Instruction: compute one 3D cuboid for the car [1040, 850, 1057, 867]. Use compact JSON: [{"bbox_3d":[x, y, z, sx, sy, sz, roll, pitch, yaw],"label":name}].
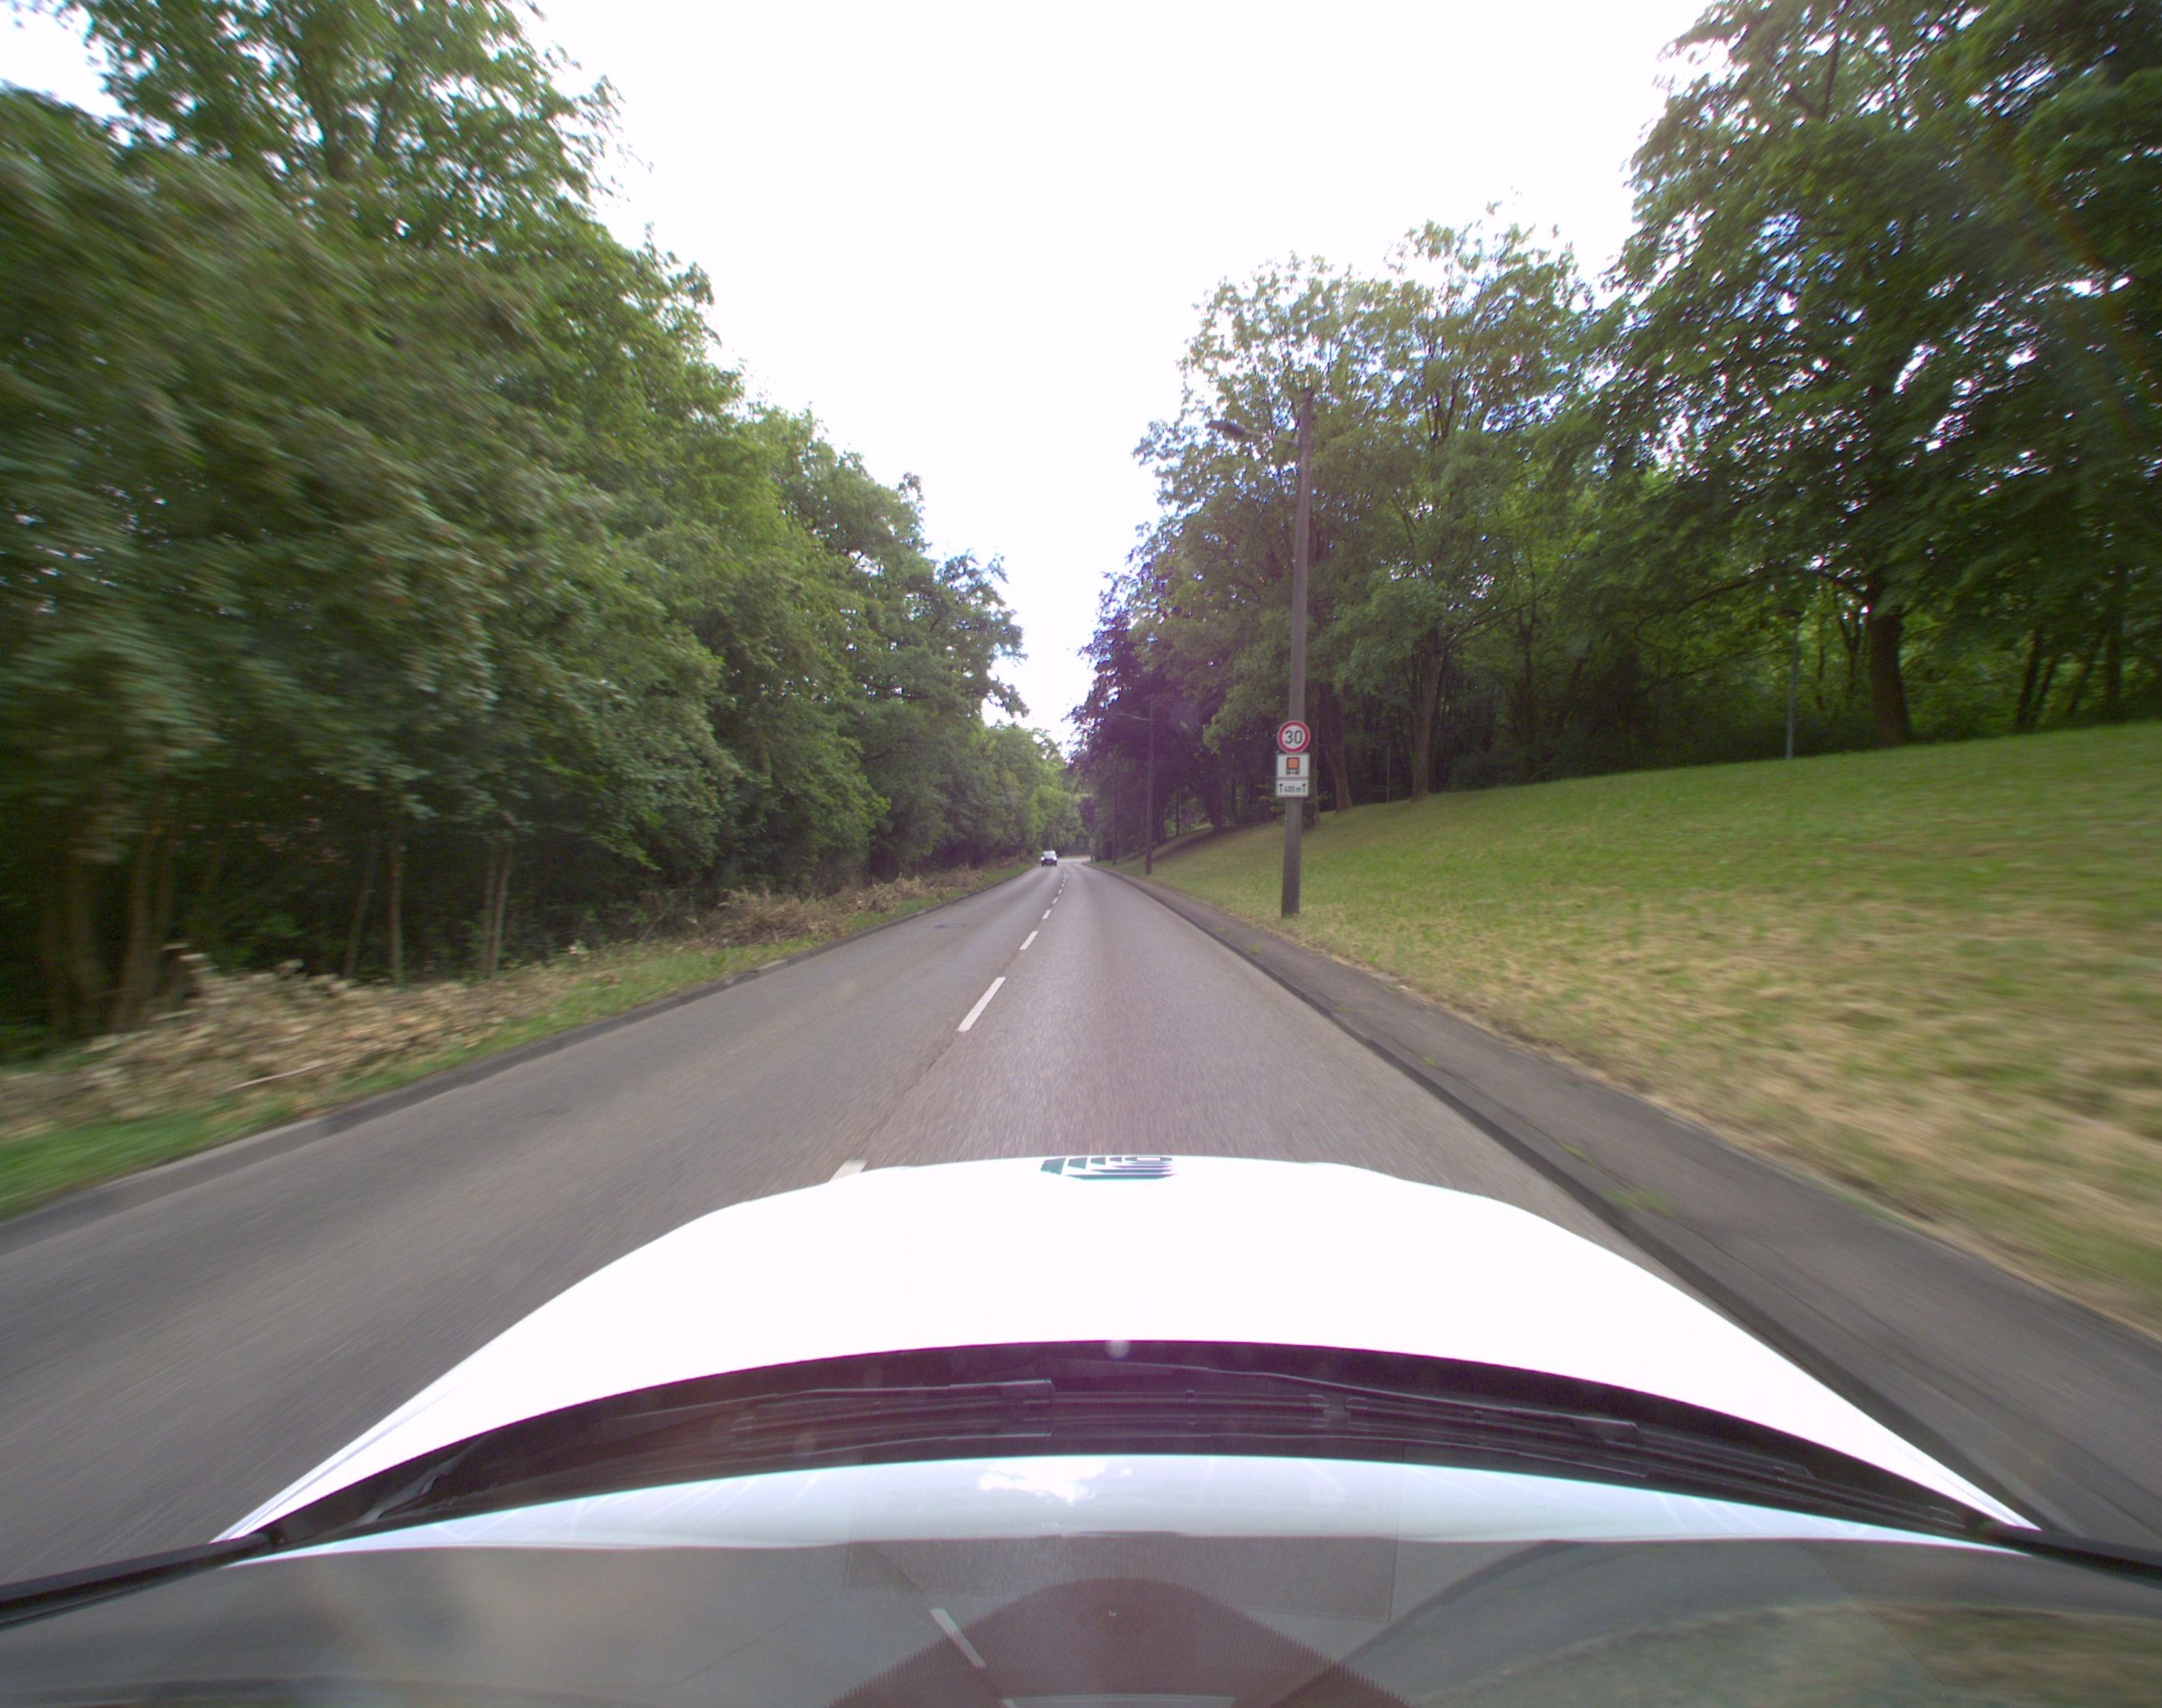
[{"bbox_3d":[-3.905,0.568,99.961,1.988,1.948,4.942,0,-1,-1],"label":"car"}]
